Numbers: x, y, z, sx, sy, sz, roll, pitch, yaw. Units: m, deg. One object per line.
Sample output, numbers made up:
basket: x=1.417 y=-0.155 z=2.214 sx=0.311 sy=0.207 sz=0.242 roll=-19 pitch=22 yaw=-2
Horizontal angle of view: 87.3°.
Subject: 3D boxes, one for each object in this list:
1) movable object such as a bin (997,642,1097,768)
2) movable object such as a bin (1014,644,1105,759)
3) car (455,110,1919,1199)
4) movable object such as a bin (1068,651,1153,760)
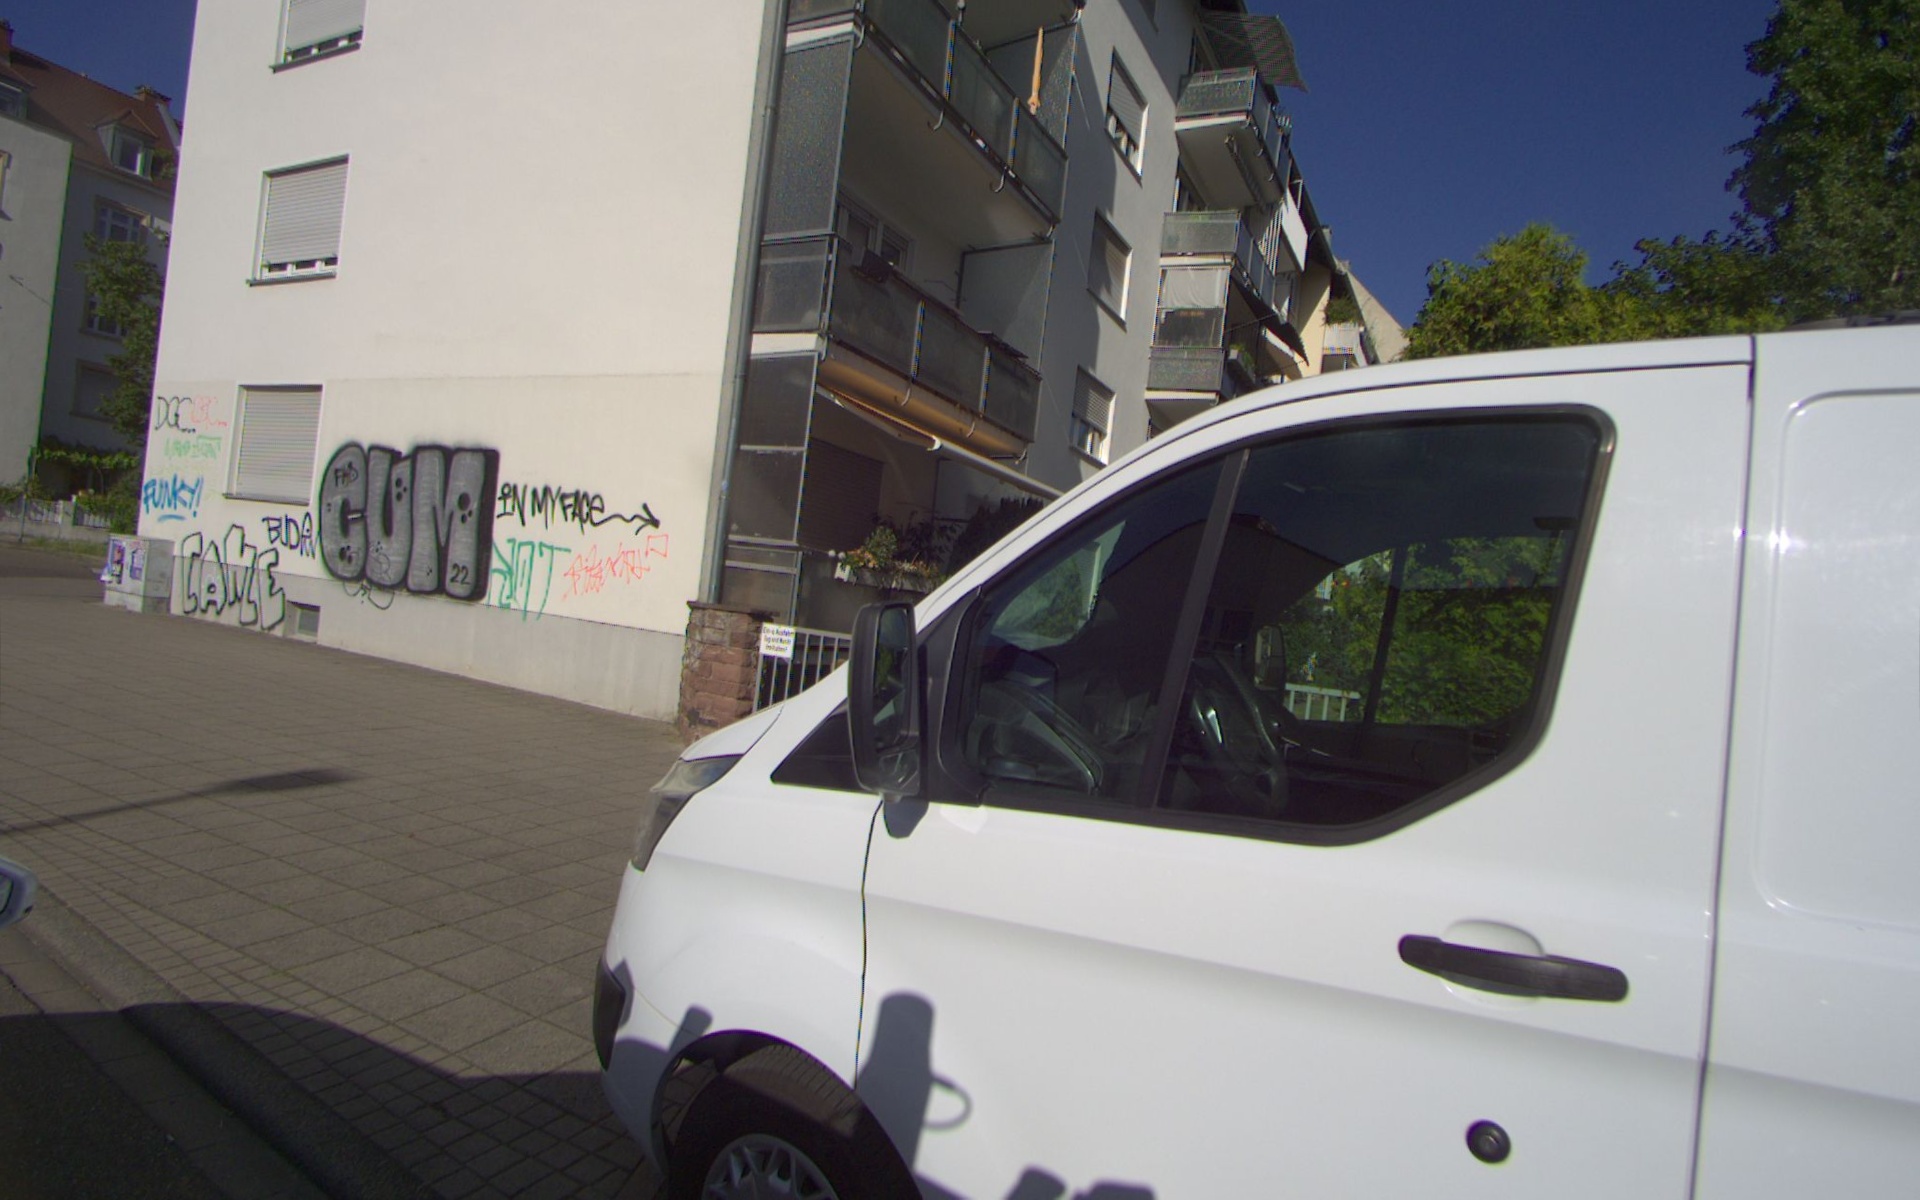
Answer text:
movable object such as a bin: x=0.879 y=1.020 z=10.017 sx=0.789 sy=1.119 sz=0.571 roll=6 pitch=0 yaw=15
movable object such as a bin: x=1.094 y=1.085 z=10.984 sx=0.789 sy=1.119 sz=0.571 roll=6 pitch=0 yaw=15
car: x=1.479 y=0.593 z=1.773 sx=4.718 sy=2.041 sz=1.994 roll=7 pitch=2 yaw=32
movable object such as a bin: x=1.741 y=1.191 z=11.551 sx=0.789 sy=1.119 sz=0.571 roll=6 pitch=0 yaw=15
